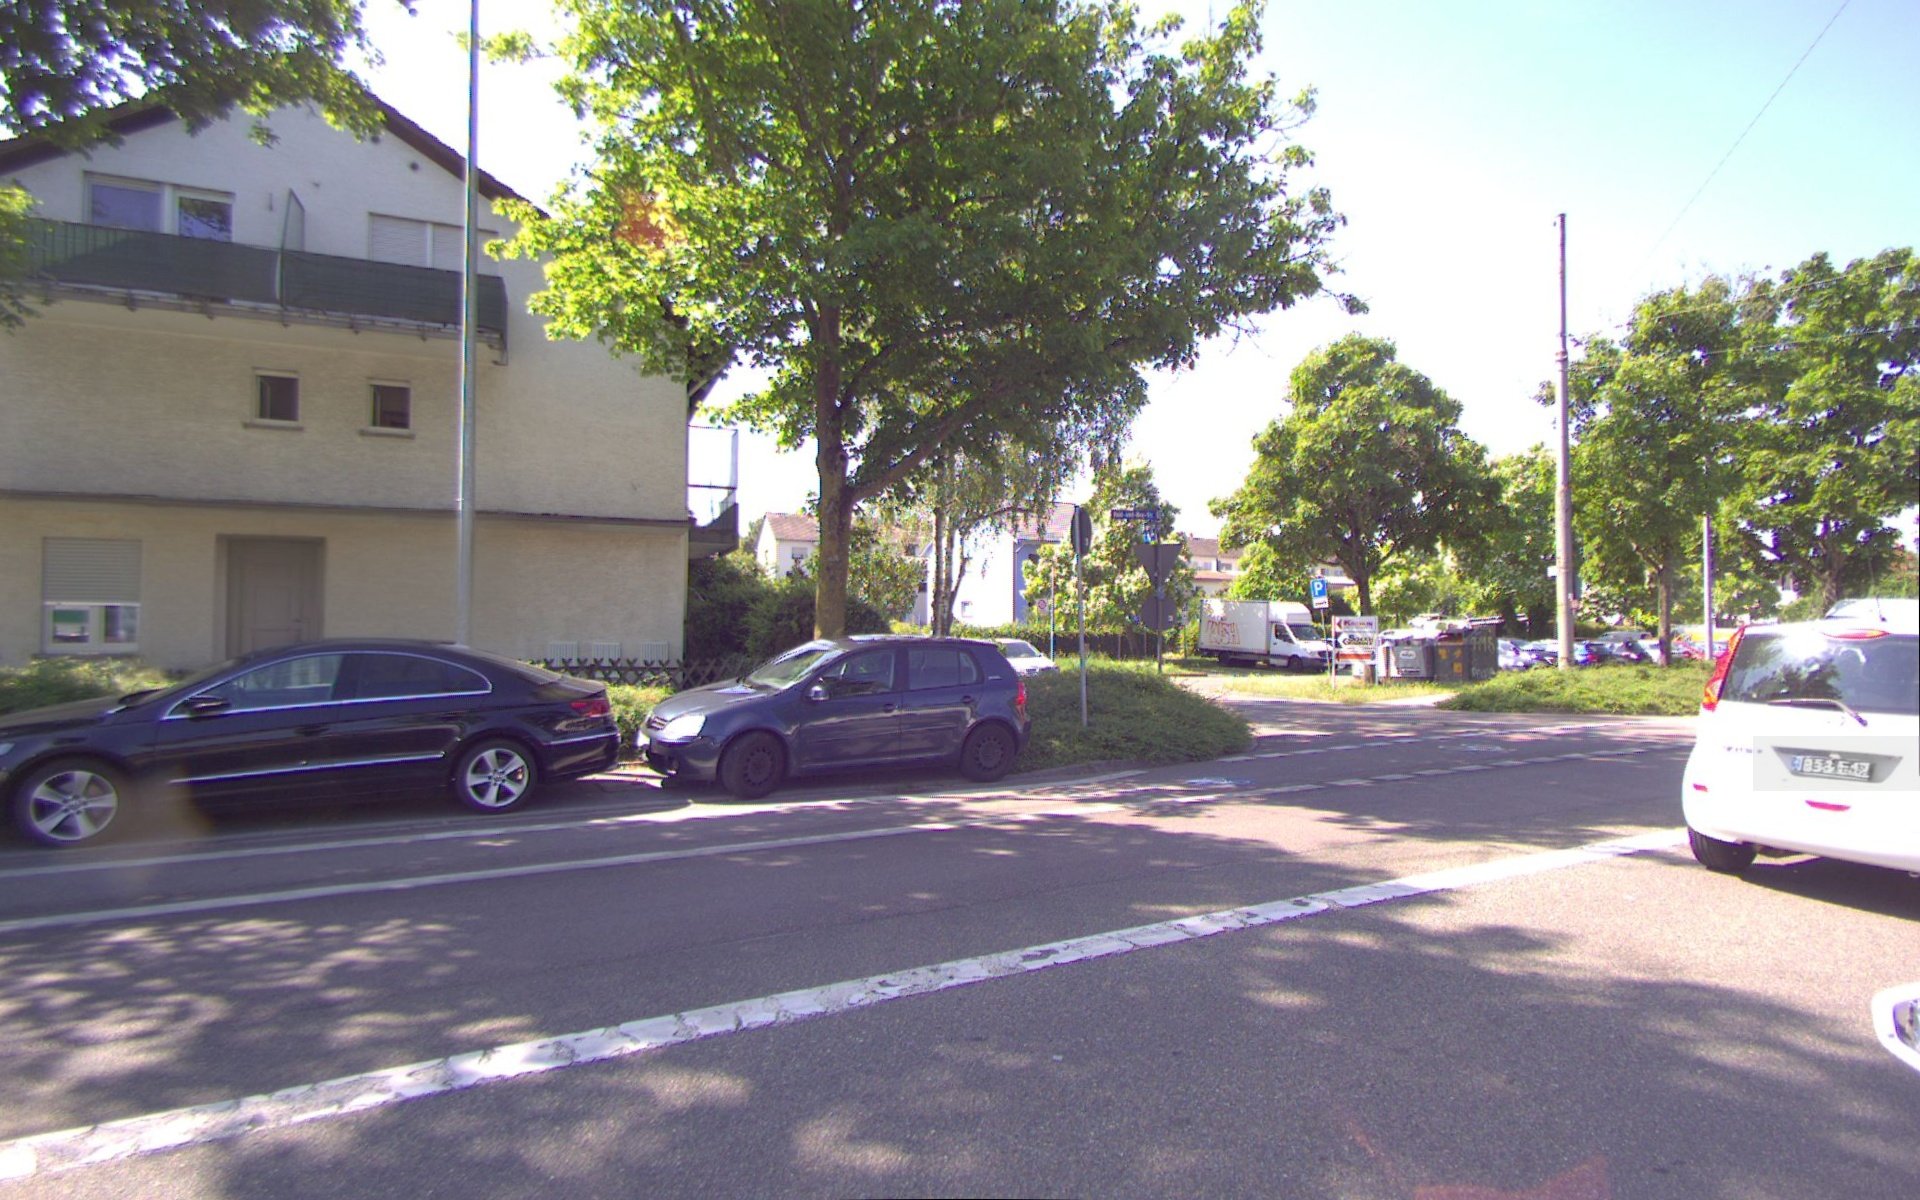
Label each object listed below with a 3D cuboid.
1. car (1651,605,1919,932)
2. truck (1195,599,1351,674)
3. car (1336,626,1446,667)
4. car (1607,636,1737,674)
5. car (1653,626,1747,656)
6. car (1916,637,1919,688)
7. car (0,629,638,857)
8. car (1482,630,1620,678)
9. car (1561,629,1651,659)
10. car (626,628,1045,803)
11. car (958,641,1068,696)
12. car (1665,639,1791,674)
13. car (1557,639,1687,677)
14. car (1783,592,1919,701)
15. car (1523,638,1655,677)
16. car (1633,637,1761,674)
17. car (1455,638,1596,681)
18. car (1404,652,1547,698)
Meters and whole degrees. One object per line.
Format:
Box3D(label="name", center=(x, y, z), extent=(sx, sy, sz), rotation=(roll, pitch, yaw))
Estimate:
Box3D(label="car", center=(6.386, 0.854, 6.244), extent=(4.491, 1.568, 1.655), rotation=(1, -1, -29))
Box3D(label="truck", center=(14.412, 1.595, 46.840), extent=(2.646, 3.151, 6.967), rotation=(1, 0, -30))
Box3D(label="car", center=(21.688, 2.322, 50.712), extent=(2.043, 1.811, 4.762), rotation=(2, 0, -34))
Box3D(label="car", center=(28.826, 2.240, 40.786), extent=(1.712, 1.434, 3.964), rotation=(2, -4, -33))
Box3D(label="car", center=(50.543, 2.768, 68.726), extent=(2.043, 1.811, 4.762), rotation=(2, 0, -34))
Box3D(label="car", center=(29.401, 1.817, 28.759), extent=(4.230, 1.434, 1.854), rotation=(1, 0, -31))
Box3D(label="car", center=(-5.232, 1.003, 8.358), extent=(4.568, 1.434, 1.854), rotation=(1, 0, -31))
Box3D(label="car", center=(21.411, 1.968, 36.510), extent=(1.712, 1.631, 3.964), rotation=(2, -4, -33))
Box3D(label="car", center=(44.511, 2.984, 69.301), extent=(2.043, 1.811, 4.762), rotation=(2, 0, -34))
Box3D(label="car", center=(-1.270, 1.076, 10.475), extent=(3.988, 1.462, 1.718), rotation=(1, 0, -28))
Box3D(label="car", center=(1.408, 1.925, 28.441), extent=(1.704, 1.434, 3.983), rotation=(1, -3, -20))
Box3D(label="car", center=(33.159, 2.443, 43.457), extent=(1.712, 1.434, 3.964), rotation=(2, -4, -33))
Box3D(label="car", center=(26.353, 2.325, 40.090), extent=(1.712, 1.434, 3.964), rotation=(2, -4, -33))
Box3D(label="car", center=(23.791, 1.139, 25.777), extent=(5.745, 2.550, 2.114), rotation=(1, 0, -29))
Box3D(label="car", center=(24.167, 2.210, 38.717), extent=(1.712, 1.434, 3.964), rotation=(2, -4, -33))
Box3D(label="car", center=(30.770, 2.327, 42.035), extent=(1.712, 1.434, 3.964), rotation=(2, -4, -33))
Box3D(label="car", center=(19.692, 2.072, 35.124), extent=(1.712, 1.434, 3.964), rotation=(2, -4, -33))
Box3D(label="car", center=(17.320, 2.487, 33.901), extent=(1.712, 1.434, 3.964), rotation=(2, -4, -33))
